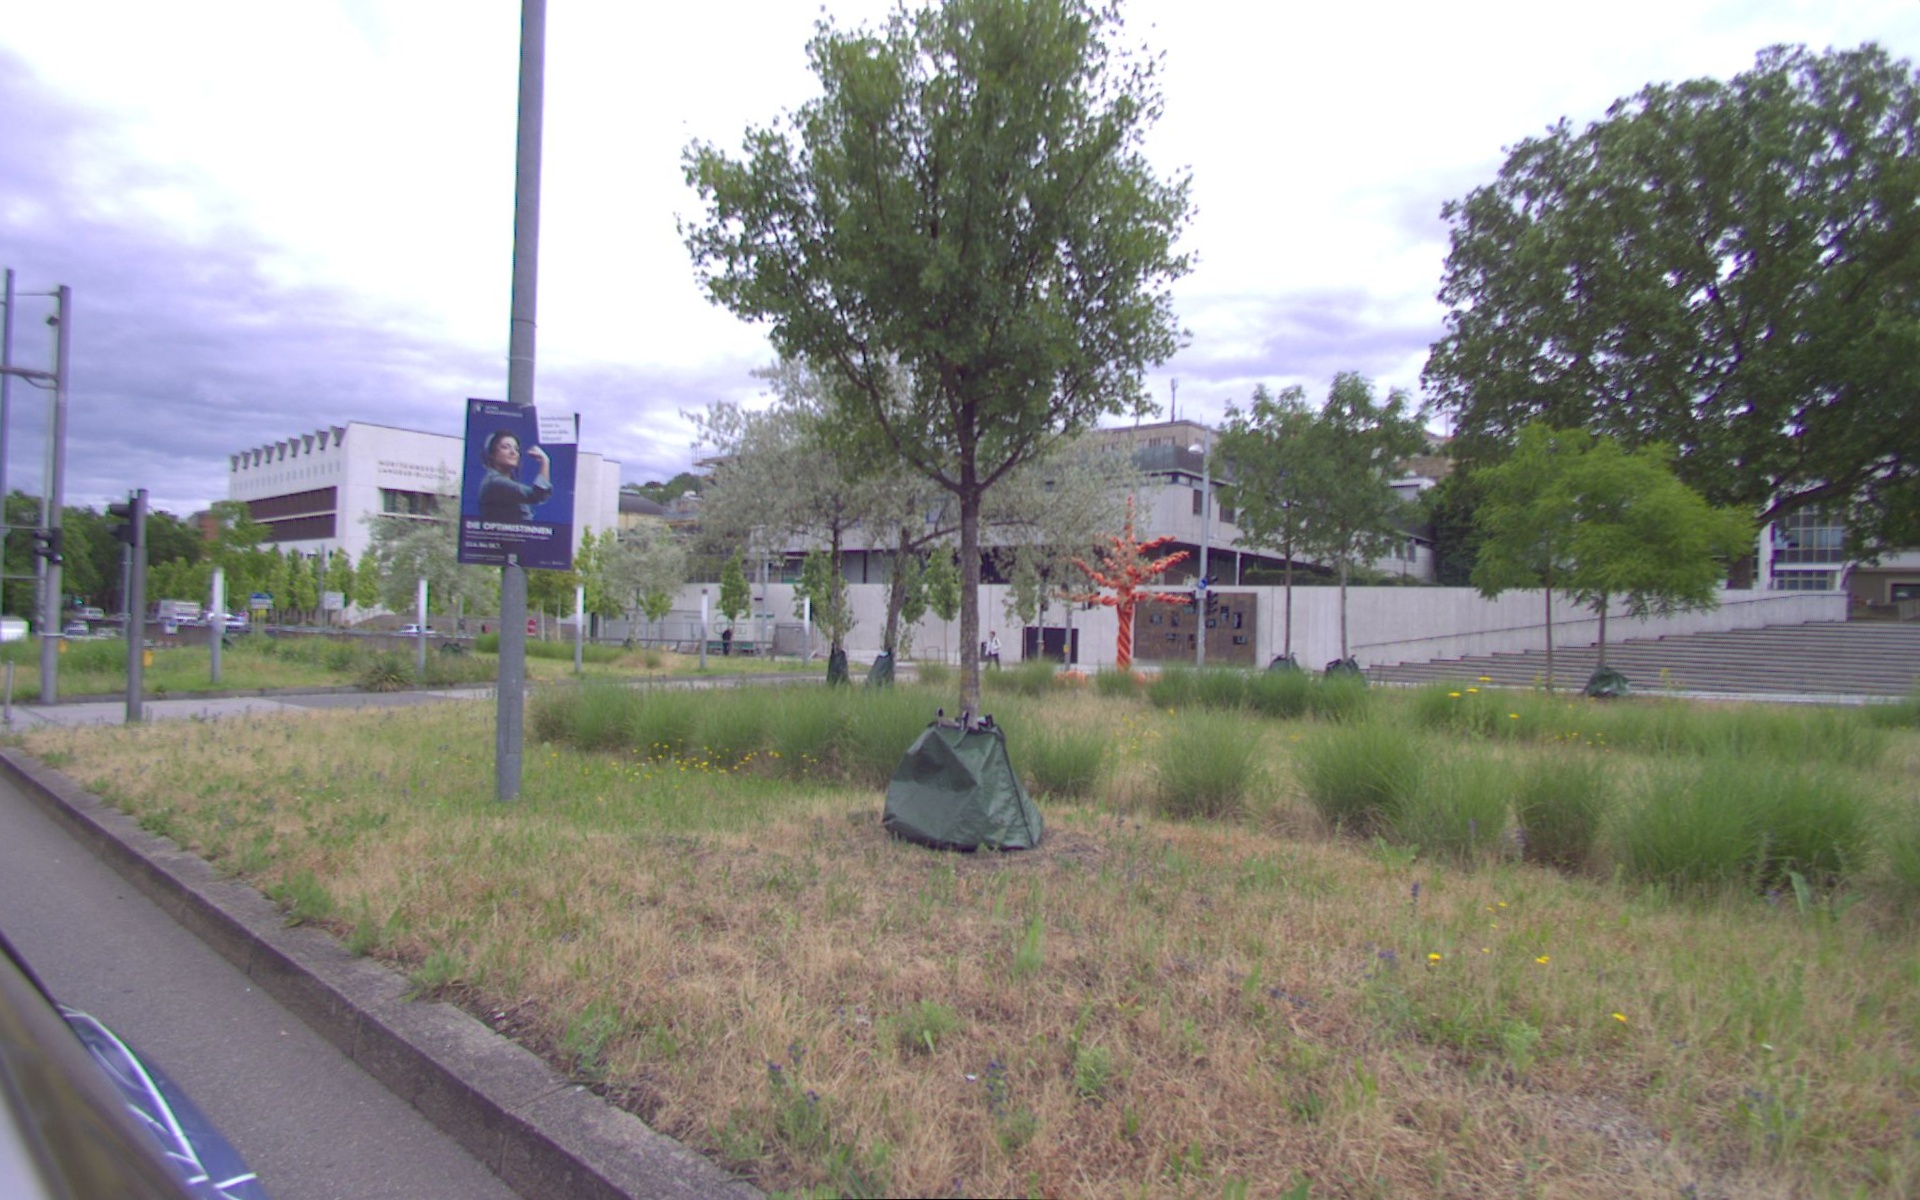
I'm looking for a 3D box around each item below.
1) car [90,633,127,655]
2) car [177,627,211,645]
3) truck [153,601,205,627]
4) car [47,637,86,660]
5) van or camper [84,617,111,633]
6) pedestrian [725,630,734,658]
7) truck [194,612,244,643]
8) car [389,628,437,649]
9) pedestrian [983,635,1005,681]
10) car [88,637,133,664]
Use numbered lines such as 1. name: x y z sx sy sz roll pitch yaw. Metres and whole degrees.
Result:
1. car: -82.688 4.289 98.271 3.998 2.029 1.973 -2 -6 41
2. car: -78.896 3.725 104.210 4.255 1.830 1.973 -2 -3 41
3. truck: -90.108 1.634 116.721 7.247 2.809 3.198 -2 -2 40
4. car: -81.862 4.447 92.709 4.330 2.029 1.973 -2 -6 41
5. van or camper: -108.360 3.138 127.111 4.554 2.029 1.973 -2 -3 41
6. pedestrian: -13.008 2.477 57.119 0.316 1.533 0.314 -1 -1 34
7. truck: -70.967 2.659 96.863 7.077 2.838 2.437 -2 -3 42
8. car: -41.019 2.878 75.848 4.611 1.586 1.700 -2 -3 42
9. pedestrian: 1.296 2.219 38.741 0.663 1.747 0.534 -2 -2 41
10. car: -67.492 3.978 80.379 3.998 2.029 1.973 -2 -6 41
